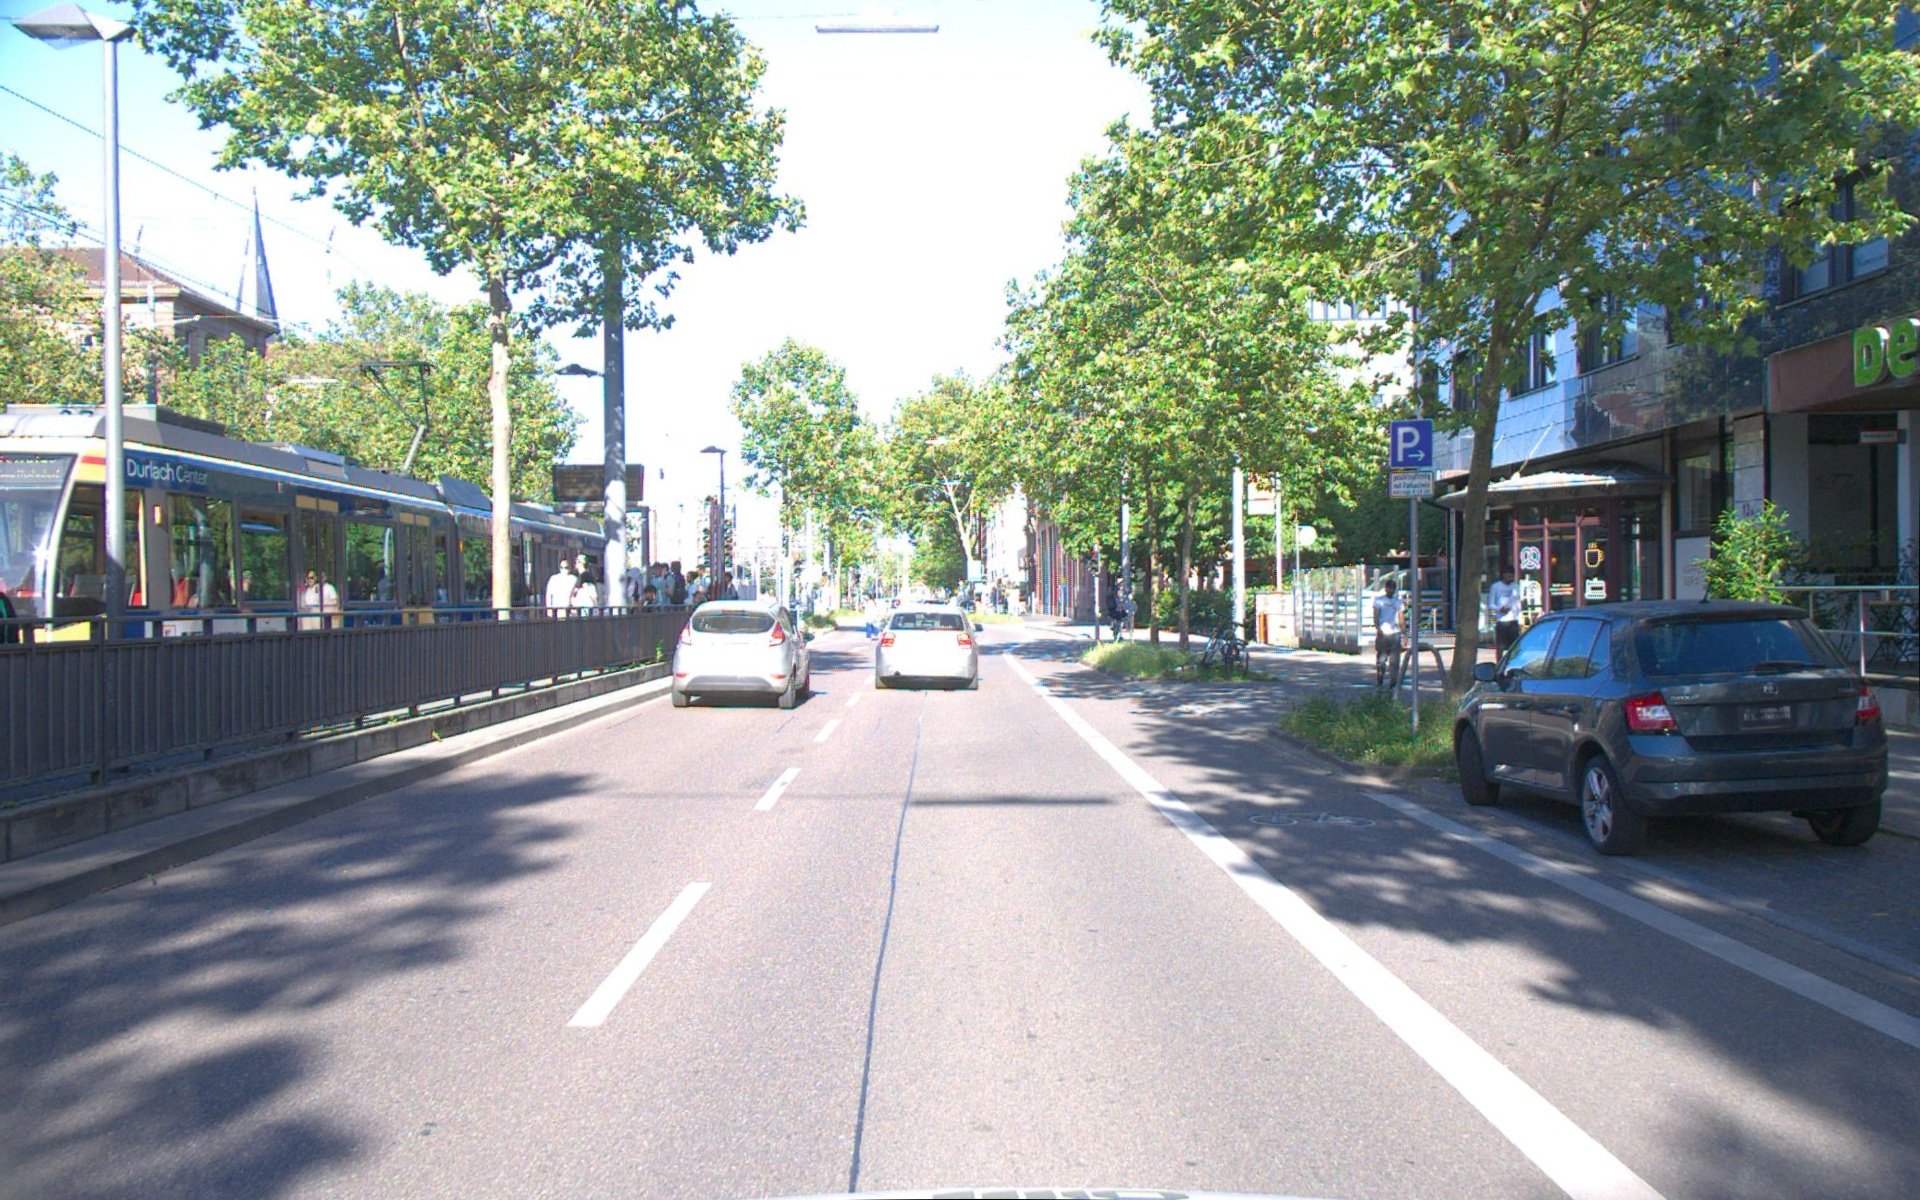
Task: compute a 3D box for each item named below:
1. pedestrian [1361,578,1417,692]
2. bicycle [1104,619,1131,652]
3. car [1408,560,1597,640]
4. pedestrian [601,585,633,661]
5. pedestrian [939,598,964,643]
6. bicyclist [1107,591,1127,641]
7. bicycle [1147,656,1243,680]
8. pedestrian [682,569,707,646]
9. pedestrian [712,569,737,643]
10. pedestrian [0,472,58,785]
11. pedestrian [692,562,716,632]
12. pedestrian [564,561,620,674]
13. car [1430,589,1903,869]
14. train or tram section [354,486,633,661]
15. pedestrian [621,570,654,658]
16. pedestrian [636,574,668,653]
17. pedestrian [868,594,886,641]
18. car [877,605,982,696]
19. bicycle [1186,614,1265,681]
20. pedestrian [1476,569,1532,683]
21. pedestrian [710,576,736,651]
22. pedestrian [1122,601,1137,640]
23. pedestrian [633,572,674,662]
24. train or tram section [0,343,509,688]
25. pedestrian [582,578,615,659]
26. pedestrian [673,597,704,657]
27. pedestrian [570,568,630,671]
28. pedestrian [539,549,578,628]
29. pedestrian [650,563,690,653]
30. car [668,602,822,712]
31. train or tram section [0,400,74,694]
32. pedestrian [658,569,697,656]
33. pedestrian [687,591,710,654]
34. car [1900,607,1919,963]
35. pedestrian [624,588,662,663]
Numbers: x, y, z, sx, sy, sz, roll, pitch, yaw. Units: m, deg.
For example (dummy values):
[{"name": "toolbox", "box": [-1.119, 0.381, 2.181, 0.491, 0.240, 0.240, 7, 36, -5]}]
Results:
[{"name": "pedestrian", "box": [6.731, 0.541, 25.978, 0.548, 1.734, 1.052, -1, 0, -1]}, {"name": "bicycle", "box": [5.395, 1.200, 56.733, 0.814, 1.059, 1.876, -1, 0, 8]}, {"name": "car", "box": [15.728, -0.001, 48.118, 4.798, 2.019, 1.912, -3, 0, -1]}, {"name": "pedestrian", "box": [-7.072, 0.474, 34.075, 0.534, 1.545, 0.531, -1, 0, -1]}, {"name": "pedestrian", "box": [-0.319, 0.740, 59.682, 0.812, 1.603, 0.739, 0, -1, 7]}, {"name": "bicyclist", "box": [5.389, 0.546, 56.738, 0.644, 1.686, 0.765, -1, 0, 8]}, {"name": "bicycle", "box": [4.346, 1.259, 30.773, 1.576, 0.359, 1.388, -1, 0, -1]}, {"name": "pedestrian", "box": [-6.067, 0.168, 37.780, 0.495, 1.732, 0.611, -1, 0, -5]}, {"name": "pedestrian", "box": [-5.702, 0.153, 39.986, 0.537, 1.764, 0.539, -1, 0, -5]}, {"name": "pedestrian", "box": [-5.403, 0.152, 9.067, 0.555, 1.668, 0.621, 0, -1, 1]}, {"name": "pedestrian", "box": [-6.546, -0.086, 42.296, 0.537, 1.764, 0.539, -1, 0, -5]}, {"name": "pedestrian", "box": [-5.920, 0.283, 26.634, 0.760, 1.783, 0.722, -1, 0, -4]}, {"name": "car", "box": [4.583, 0.742, 11.397, 1.533, 1.577, 3.999, 0, 0, 0]}, {"name": "train or tram section", "box": [-10.264, -0.374, 38.372, 2.855, 3.317, 13.109, 1, -1, -1]}, {"name": "pedestrian", "box": [-6.396, 0.276, 32.818, 0.504, 1.738, 0.621, -1, 0, -1]}, {"name": "pedestrian", "box": [-6.673, 0.292, 35.847, 0.606, 1.678, 0.622, -1, 0, -5]}, {"name": "pedestrian", "box": [-2.957, 0.632, 58.999, 0.626, 1.648, 0.641, -1, -3, -1]}, {"name": "car", "box": [-0.546, 0.836, 29.099, 1.695, 1.415, 3.839, 1, 1, -1]}, {"name": "bicycle", "box": [4.814, 0.848, 30.138, 0.774, 1.153, 1.840, -1, 0, -13]}, {"name": "pedestrian", "box": [8.644, 0.409, 26.301, 0.548, 1.775, 0.878, -1, 0, -1]}, {"name": "pedestrian", "box": [-5.629, 0.314, 39.235, 0.539, 1.764, 0.537, -1, 0, -15]}, {"name": "pedestrian", "box": [7.201, 0.870, 70.275, 0.613, 1.657, 0.944, 0, -1, 8]}, {"name": "pedestrian", "box": [-5.798, 0.320, 31.278, 0.647, 1.662, 0.571, -1, 0, 0]}, {"name": "train or tram section", "box": [-10.045, -0.672, 23.896, 2.855, 3.317, 15.888, 1, -1, -1]}, {"name": "pedestrian", "box": [-7.793, 0.394, 35.633, 0.597, 1.732, 0.545, -1, 0, -5]}, {"name": "pedestrian", "box": [-5.584, 0.554, 34.049, 0.534, 1.213, 0.531, -1, 0, -1]}, {"name": "pedestrian", "box": [-5.487, 0.295, 25.262, 0.760, 1.536, 0.751, -1, 0, -4]}, {"name": "pedestrian", "box": [-6.835, -0.192, 28.154, 0.523, 1.322, 0.604, -1, 0, -4]}, {"name": "pedestrian", "box": [-5.617, 0.158, 32.103, 0.647, 1.726, 0.571, -1, 0, 0]}, {"name": "car", "box": [-2.989, 0.769, 23.637, 1.626, 1.434, 3.632, 1, -1, 1]}, {"name": "train or tram section", "box": [-12.729, -0.654, 12.120, 2.791, 3.494, 18.211, 1, 0, -1]}, {"name": "pedestrian", "box": [-5.675, 0.249, 33.236, 0.647, 1.726, 0.571, -1, 0, 0]}, {"name": "pedestrian", "box": [-5.588, 0.477, 35.294, 0.407, 1.339, 0.507, -1, 0, -3]}, {"name": "car", "box": [4.806, 0.745, 4.520, 1.726, 1.443, 4.699, 0, 0, -1]}, {"name": "pedestrian", "box": [-5.481, 0.438, 28.607, 0.523, 1.268, 0.604, -1, 0, -3]}]
